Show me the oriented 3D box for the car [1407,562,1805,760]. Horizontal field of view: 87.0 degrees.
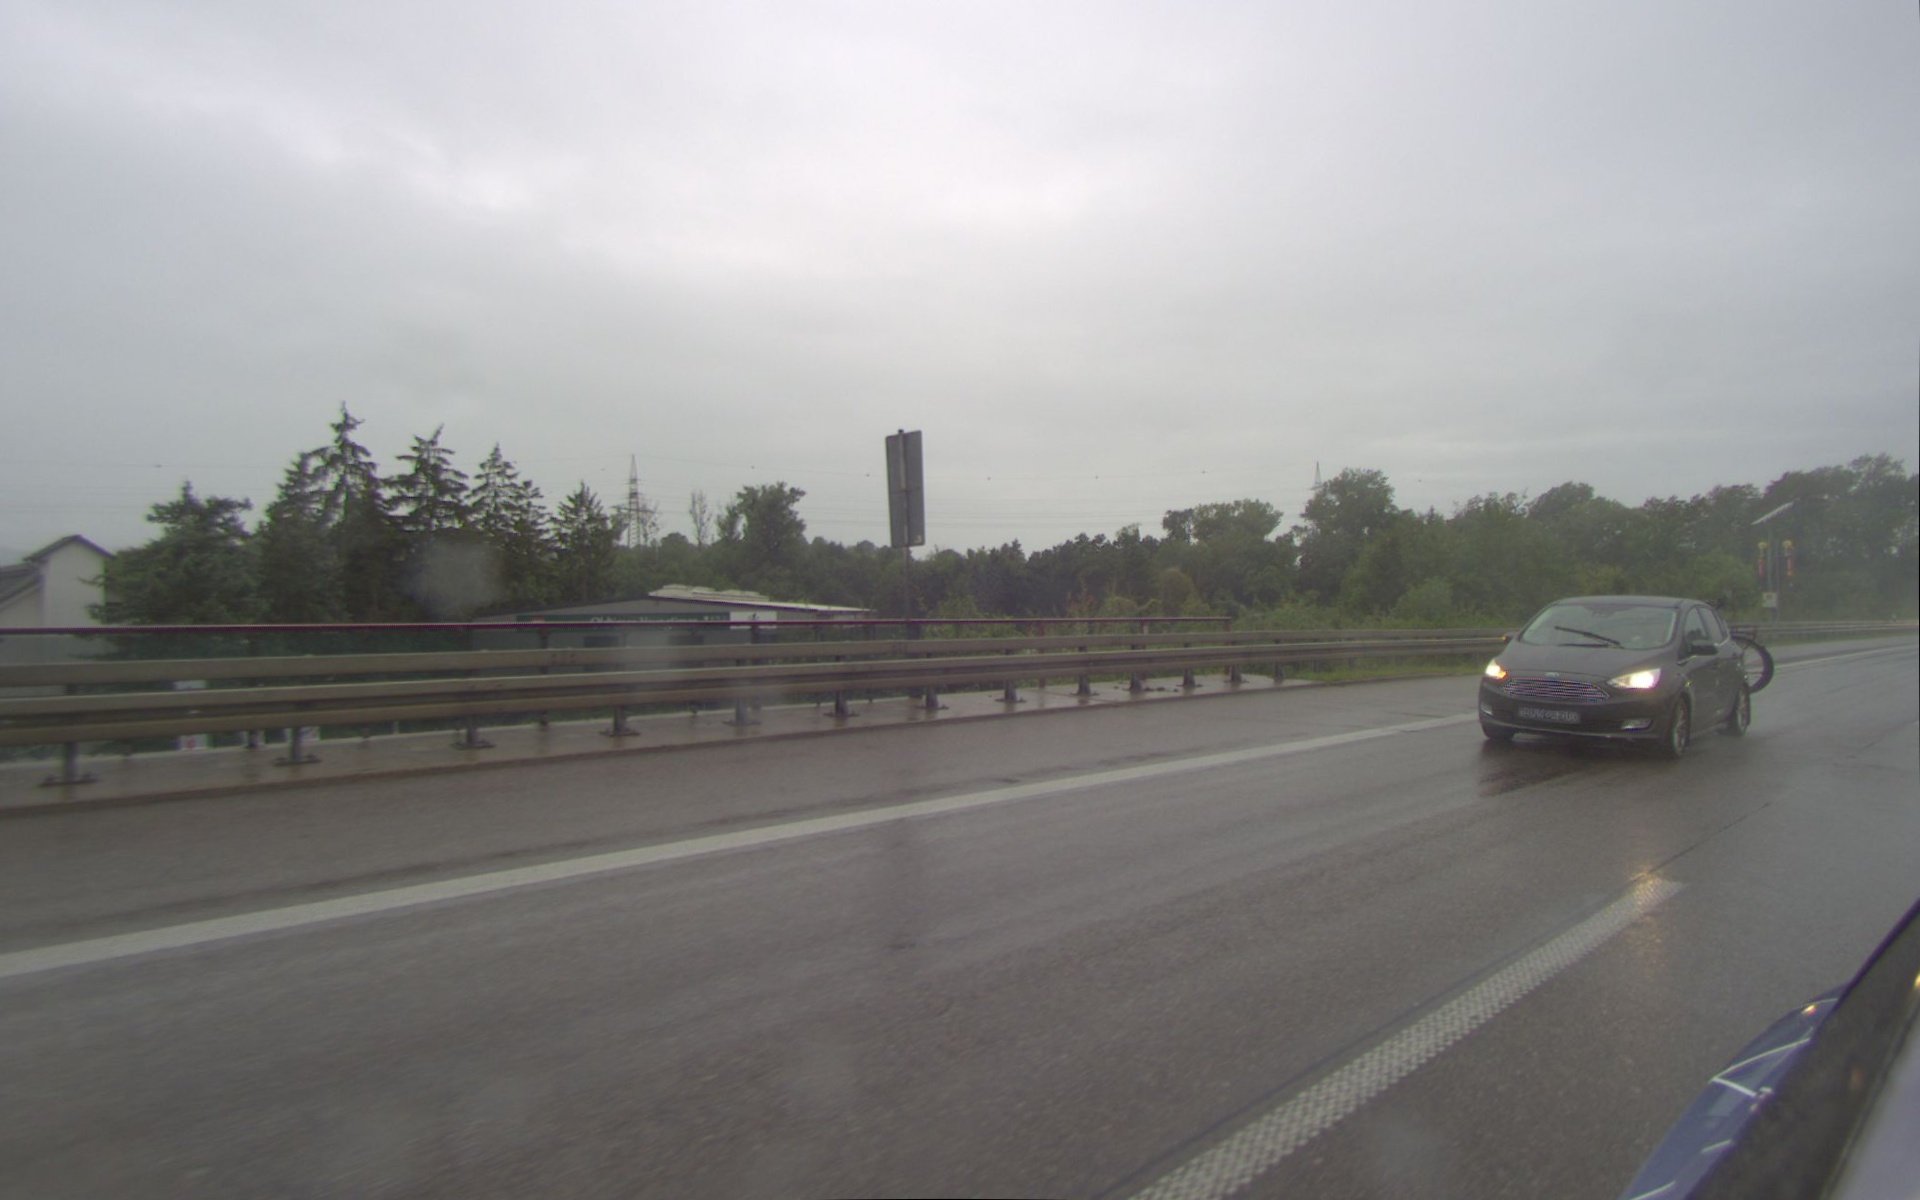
[{"bbox_3d":[7.722,0.550,11.817,5.619,1.768,2.461,0,0,-41],"label":"car"}]
